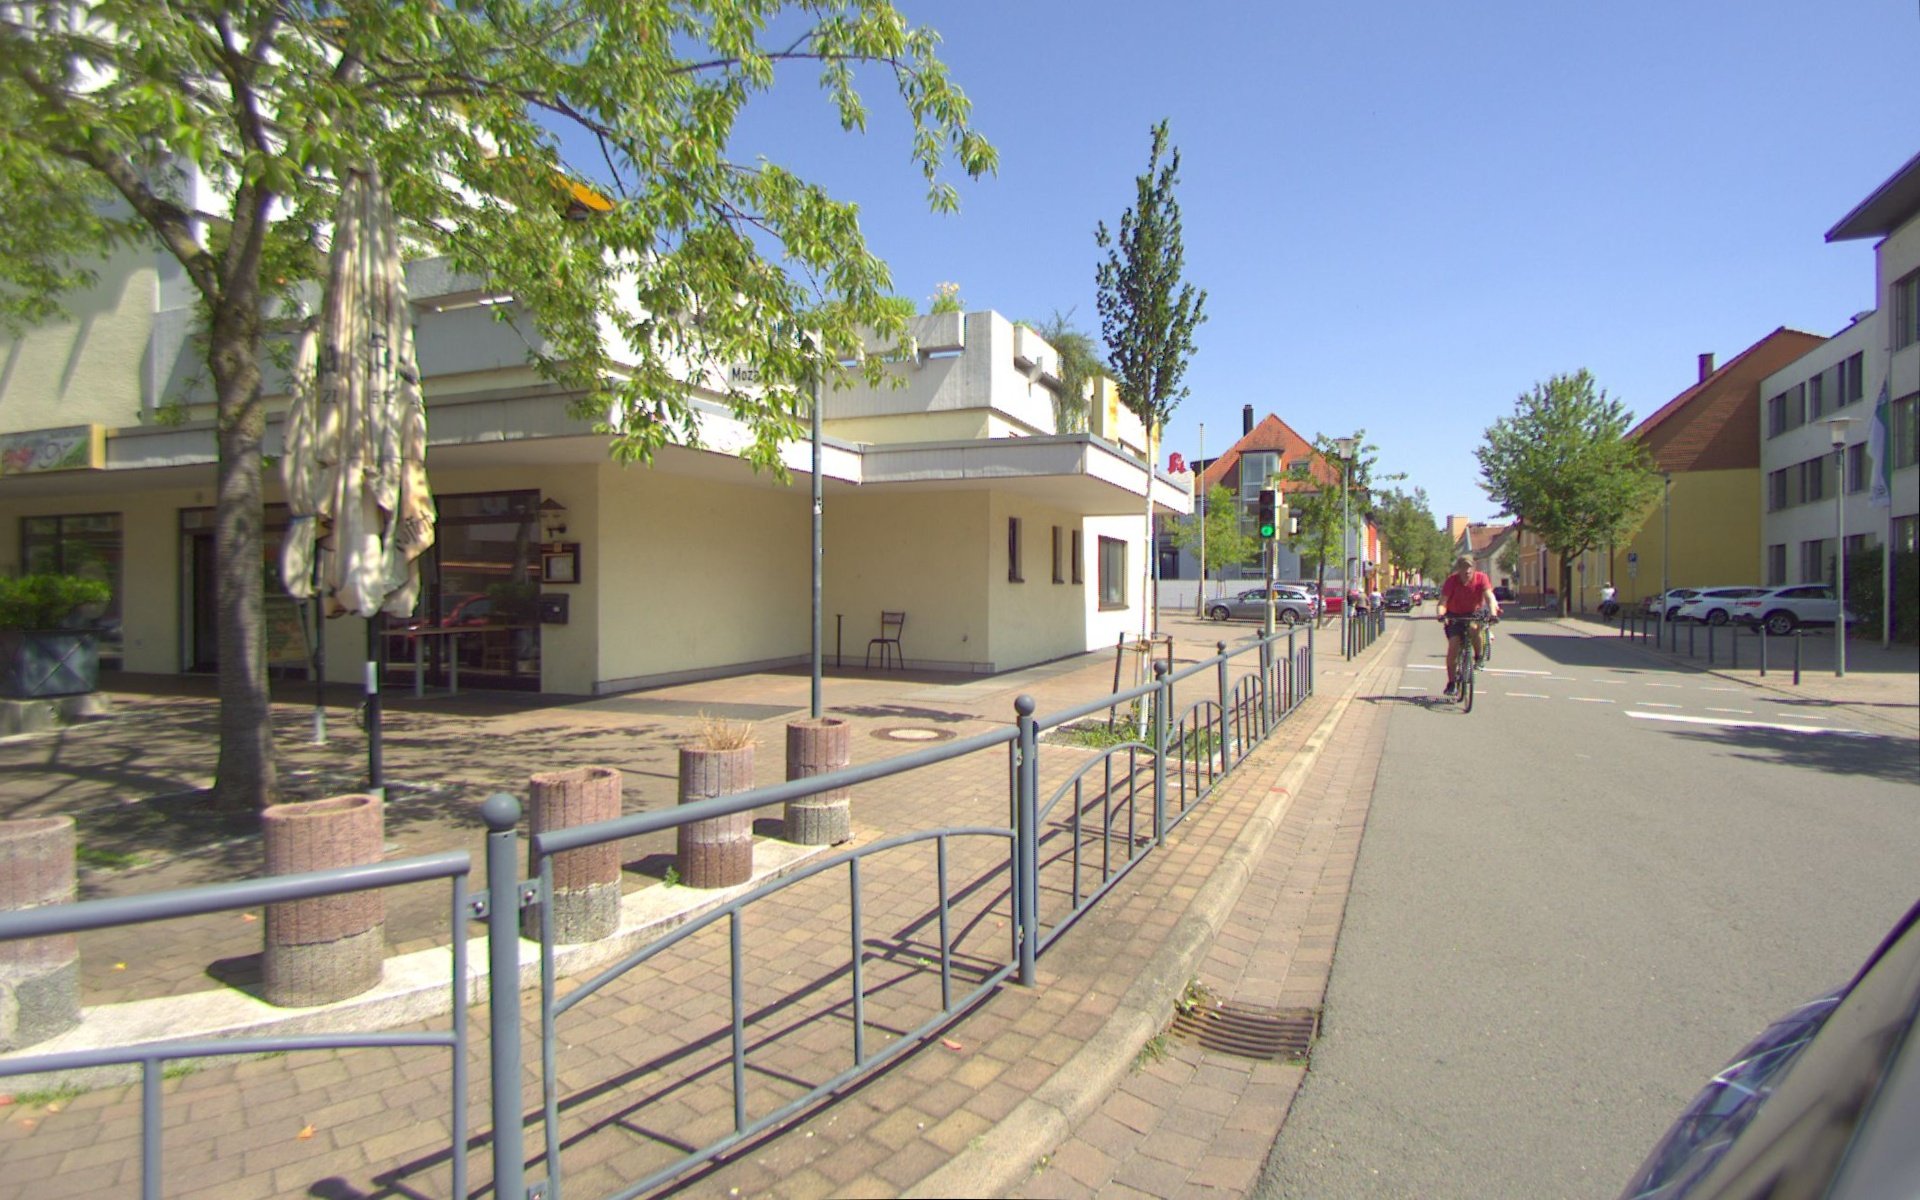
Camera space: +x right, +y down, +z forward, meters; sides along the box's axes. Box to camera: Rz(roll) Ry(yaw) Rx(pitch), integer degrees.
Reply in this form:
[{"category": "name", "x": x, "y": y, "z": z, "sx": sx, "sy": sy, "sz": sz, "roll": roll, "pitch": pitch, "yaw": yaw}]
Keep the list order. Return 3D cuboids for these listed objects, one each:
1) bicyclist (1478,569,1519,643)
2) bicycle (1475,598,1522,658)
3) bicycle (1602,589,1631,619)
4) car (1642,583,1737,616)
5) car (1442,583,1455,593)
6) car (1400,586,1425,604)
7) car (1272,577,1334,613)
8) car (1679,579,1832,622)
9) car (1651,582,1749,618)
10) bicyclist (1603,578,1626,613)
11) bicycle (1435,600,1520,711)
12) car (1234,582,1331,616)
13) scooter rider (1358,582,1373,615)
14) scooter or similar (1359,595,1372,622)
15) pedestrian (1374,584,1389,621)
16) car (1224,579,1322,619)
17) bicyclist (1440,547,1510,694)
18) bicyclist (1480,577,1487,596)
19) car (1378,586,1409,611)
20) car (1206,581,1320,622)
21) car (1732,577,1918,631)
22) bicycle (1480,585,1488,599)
[{"category": "bicyclist", "x": 11.873, "y": 0.116, "z": 22.334, "sx": 0.695, "sy": 1.601, "sz": 0.871, "roll": -1, "pitch": 1, "yaw": 23}, {"category": "bicycle", "x": 11.828, "y": 0.586, "z": 22.271, "sx": 0.682, "sy": 1.204, "sz": 1.786, "roll": 1, "pitch": 1, "yaw": 22}, {"category": "bicycle", "x": 28.578, "y": 0.176, "z": 44.091, "sx": 0.703, "sy": 1.268, "sz": 1.957, "roll": 1, "pitch": 1, "yaw": 23}, {"category": "car", "x": 32.678, "y": -0.022, "z": 45.428, "sx": 3.225, "sy": 1.419, "sz": 1.363, "roll": -1, "pitch": 0, "yaw": 25}, {"category": "car", "x": 85.853, "y": -2.193, "z": 177.891, "sx": 1.979, "sy": 1.727, "sz": 3.967, "roll": 1, "pitch": 1, "yaw": 24}, {"category": "car", "x": 35.694, "y": -0.428, "z": 79.866, "sx": 1.511, "sy": 1.322, "sz": 3.230, "roll": 2, "pitch": 1, "yaw": 20}, {"category": "car", "x": 17.928, "y": -0.259, "z": 52.886, "sx": 3.005, "sy": 1.759, "sz": 1.336, "roll": 2, "pitch": 1, "yaw": 21}, {"category": "car", "x": 30.138, "y": 0.019, "z": 38.497, "sx": 4.283, "sy": 1.497, "sz": 1.500, "roll": -1, "pitch": 0, "yaw": 27}, {"category": "car", "x": 31.719, "y": -0.011, "z": 43.459, "sx": 3.110, "sy": 1.468, "sz": 1.628, "roll": -1, "pitch": 0, "yaw": 27}, {"category": "bicyclist", "x": 28.605, "y": -0.196, "z": 44.236, "sx": 0.708, "sy": 1.525, "sz": 0.864, "roll": 1, "pitch": 0, "yaw": 23}, {"category": "bicycle", "x": 6.292, "y": 0.625, "z": 12.388, "sx": 0.730, "sy": 1.204, "sz": 1.957, "roll": 0, "pitch": 1, "yaw": 22}, {"category": "car", "x": 15.561, "y": -0.058, "z": 48.929, "sx": 4.389, "sy": 1.460, "sz": 1.647, "roll": 2, "pitch": 1, "yaw": 19}, {"category": "scooter rider", "x": 16.656, "y": -0.070, "z": 41.577, "sx": 0.458, "sy": 1.341, "sz": 1.122, "roll": 1, "pitch": 1, "yaw": 27}, {"category": "scooter or similar", "x": 16.669, "y": 0.340, "z": 41.602, "sx": 0.408, "sy": 0.976, "sz": 0.952, "roll": 1, "pitch": 5, "yaw": 27}, {"category": "pedestrian", "x": 17.777, "y": 0.103, "z": 42.717, "sx": 0.507, "sy": 1.535, "sz": 1.041, "roll": 2, "pitch": 1, "yaw": 20}, {"category": "car", "x": 13.604, "y": -0.066, "z": 44.011, "sx": 3.997, "sy": 1.579, "sz": 1.702, "roll": 2, "pitch": 1, "yaw": 20}, {"category": "bicyclist", "x": 6.324, "y": 0.237, "z": 12.463, "sx": 0.695, "sy": 1.738, "sz": 0.754, "roll": -1, "pitch": 1, "yaw": 23}, {"category": "bicyclist", "x": 47.969, "y": -1.246, "z": 92.679, "sx": 0.533, "sy": 1.660, "sz": 0.546, "roll": 1, "pitch": 0, "yaw": 24}, {"category": "car", "x": 26.763, "y": -0.119, "z": 62.529, "sx": 1.511, "sy": 1.471, "sz": 3.498, "roll": 1, "pitch": 1, "yaw": 20}, {"category": "car", "x": 12.405, "y": 0.047, "z": 41.433, "sx": 4.392, "sy": 1.483, "sz": 1.679, "roll": 2, "pitch": 2, "yaw": 21}, {"category": "car", "x": 26.490, "y": 0.127, "z": 31.162, "sx": 3.957, "sy": 1.567, "sz": 1.734, "roll": -1, "pitch": 0, "yaw": 25}, {"category": "bicycle", "x": 47.901, "y": -0.724, "z": 92.510, "sx": 0.588, "sy": 1.204, "sz": 1.712, "roll": 0, "pitch": 1, "yaw": 23}]
